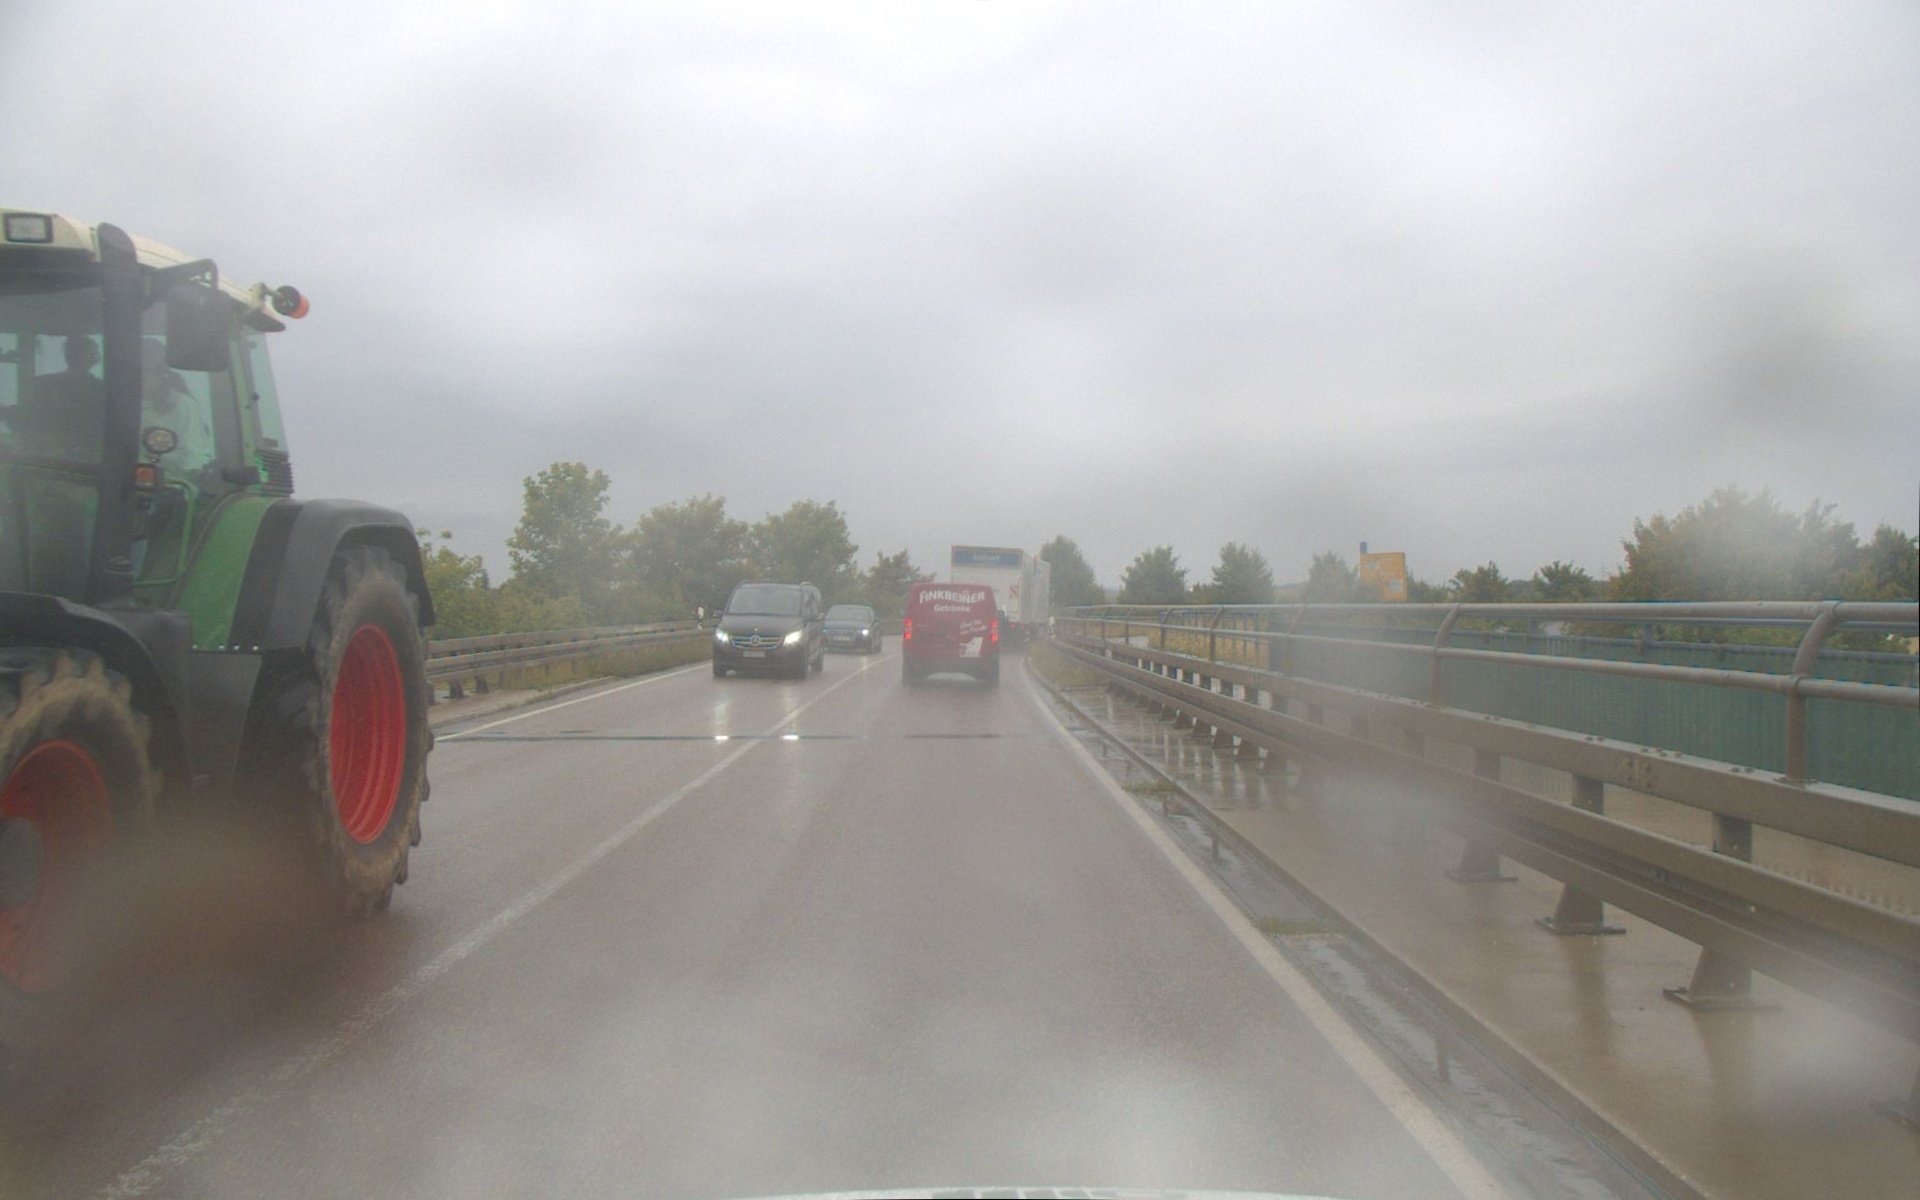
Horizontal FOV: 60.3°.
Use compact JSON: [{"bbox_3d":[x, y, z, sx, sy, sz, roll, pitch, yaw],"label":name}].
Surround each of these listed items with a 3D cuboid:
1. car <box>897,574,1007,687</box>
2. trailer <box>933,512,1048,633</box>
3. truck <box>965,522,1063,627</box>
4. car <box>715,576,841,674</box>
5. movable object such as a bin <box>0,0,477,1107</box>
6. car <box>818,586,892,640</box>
[{"bbox_3d":[-0.191,0.516,31.829,1.953,1.959,4.143,1,2,-1],"label":"car"},{"bbox_3d":[1.274,-0.967,60.875,3.134,3.990,8.746,3,0,7],"label":"trailer"},{"bbox_3d":[2.396,-1.013,69.586,3.134,3.990,8.746,3,0,7],"label":"truck"},{"bbox_3d":[-3.706,0.460,34.549,2.023,1.869,4.932,0,1,1],"label":"car"},{"bbox_3d":[-3.979,-0.367,6.546,2.692,3.505,4.643,0,0,1],"label":"movable object such as a bin"},{"bbox_3d":[-3.170,0.363,50.564,1.800,1.564,4.071,0,1,3],"label":"car"}]
